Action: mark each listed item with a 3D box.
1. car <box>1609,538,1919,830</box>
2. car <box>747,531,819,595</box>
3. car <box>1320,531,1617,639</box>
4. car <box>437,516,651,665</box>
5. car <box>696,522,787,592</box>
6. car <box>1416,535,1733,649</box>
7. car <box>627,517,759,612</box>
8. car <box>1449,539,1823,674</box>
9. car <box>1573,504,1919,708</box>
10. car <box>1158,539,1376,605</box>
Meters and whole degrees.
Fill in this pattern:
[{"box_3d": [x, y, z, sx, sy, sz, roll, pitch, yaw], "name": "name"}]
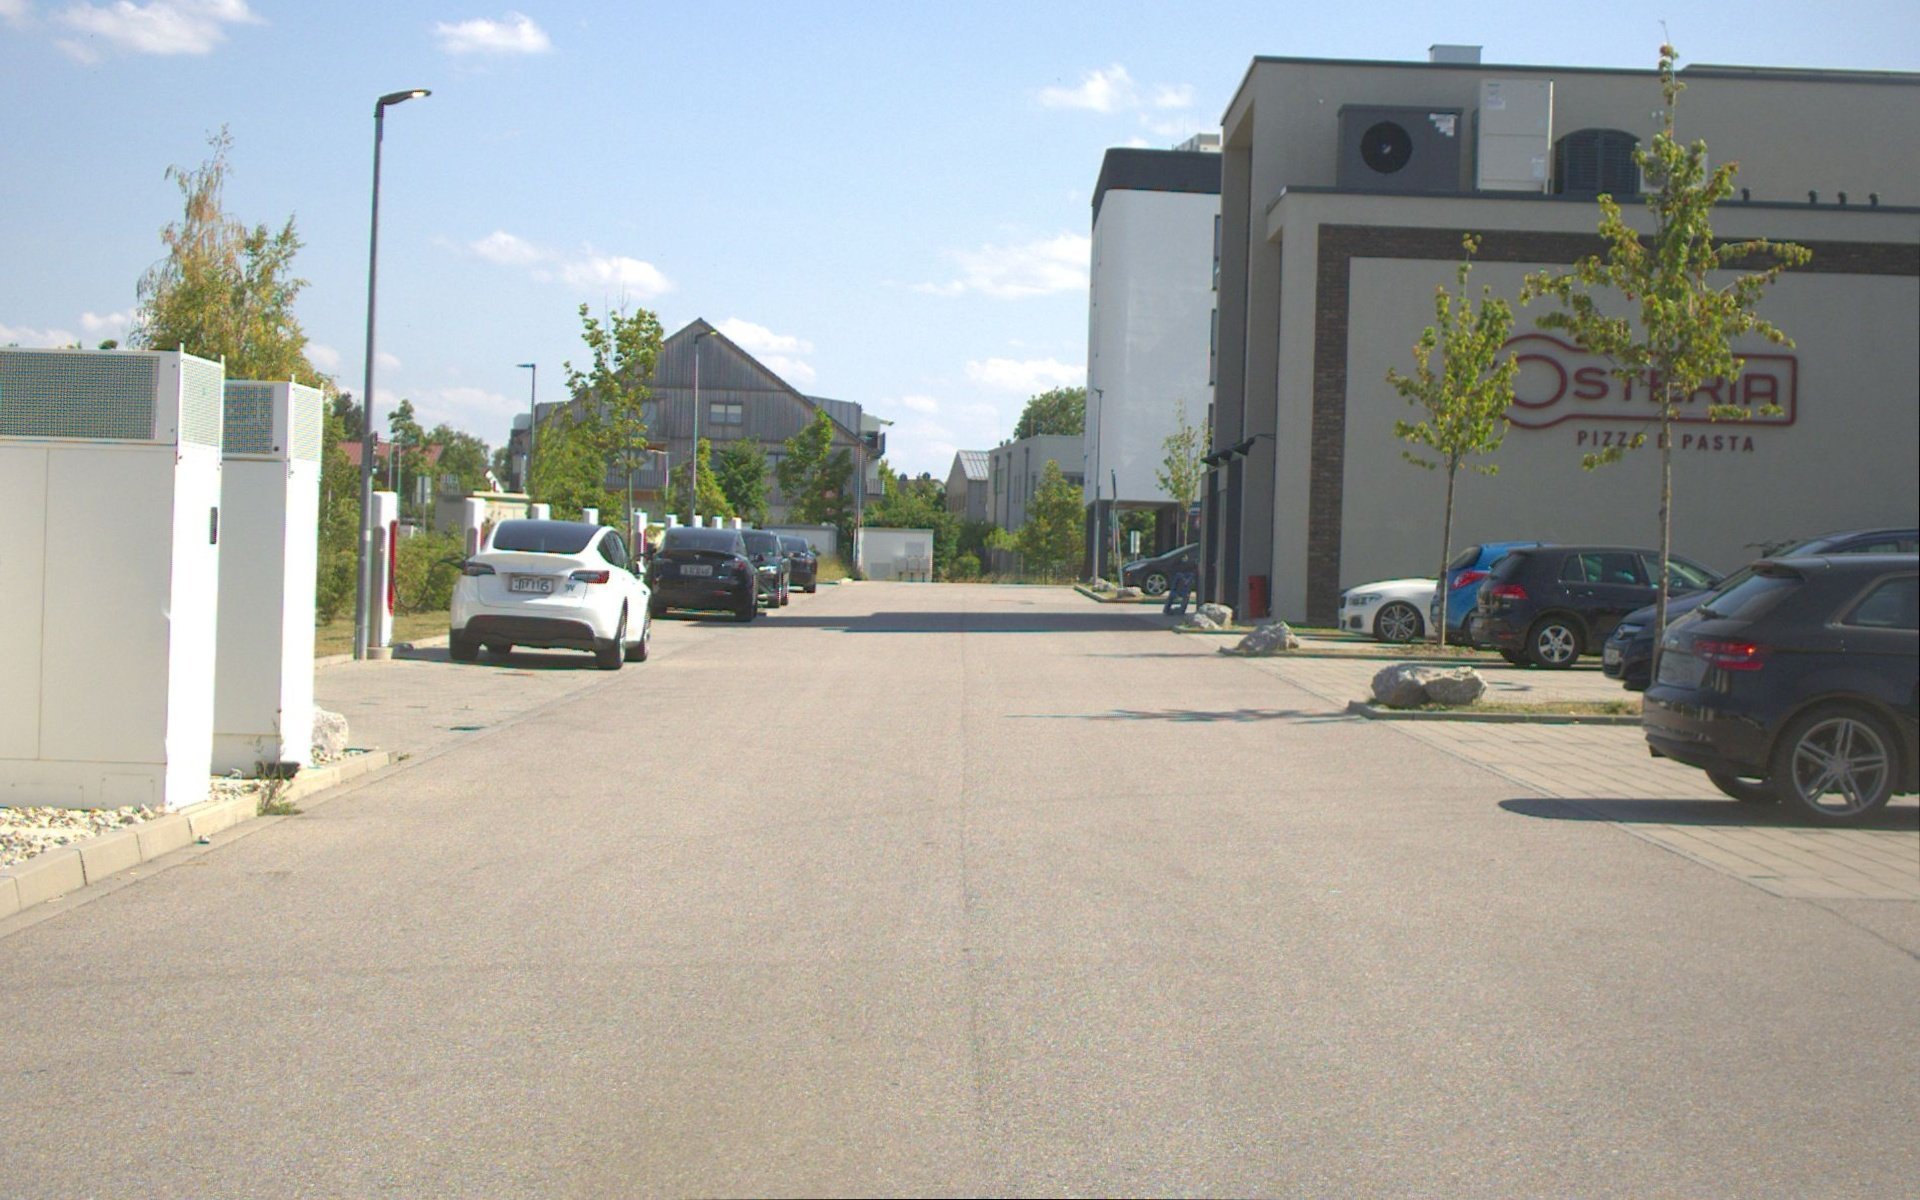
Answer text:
[{"box_3d": [5.752, 0.466, 18.329, 4.200, 1.436, 1.698, 2, 1, -1], "name": "car"}, {"box_3d": [-4.607, -0.988, 89.816, 1.742, 1.563, 4.001, 2, 1, -2], "name": "car"}, {"box_3d": [7.386, -0.228, 50.149, 3.986, 1.415, 1.651, 2, 1, -3], "name": "car"}, {"box_3d": [-4.720, -0.148, 39.531, 1.945, 1.563, 4.000, 2, 1, 0], "name": "car"}, {"box_3d": [-4.585, -0.927, 72.597, 1.742, 1.382, 4.001, 2, 1, -2], "name": "car"}, {"box_3d": [8.453, -0.122, 47.463, 3.986, 1.415, 1.651, 2, 1, -3], "name": "car"}, {"box_3d": [-4.697, -0.650, 60.981, 1.945, 1.563, 4.000, 2, 1, 0], "name": "car"}, {"box_3d": [7.917, 0.059, 40.469, 3.986, 1.415, 1.651, 2, 1, -3], "name": "car"}, {"box_3d": [7.847, 0.066, 30.596, 4.369, 1.679, 1.642, 2, 1, -5], "name": "car"}, {"box_3d": [5.938, -0.552, 66.762, 3.987, 1.152, 2.000, 1, 1, -1], "name": "car"}]
